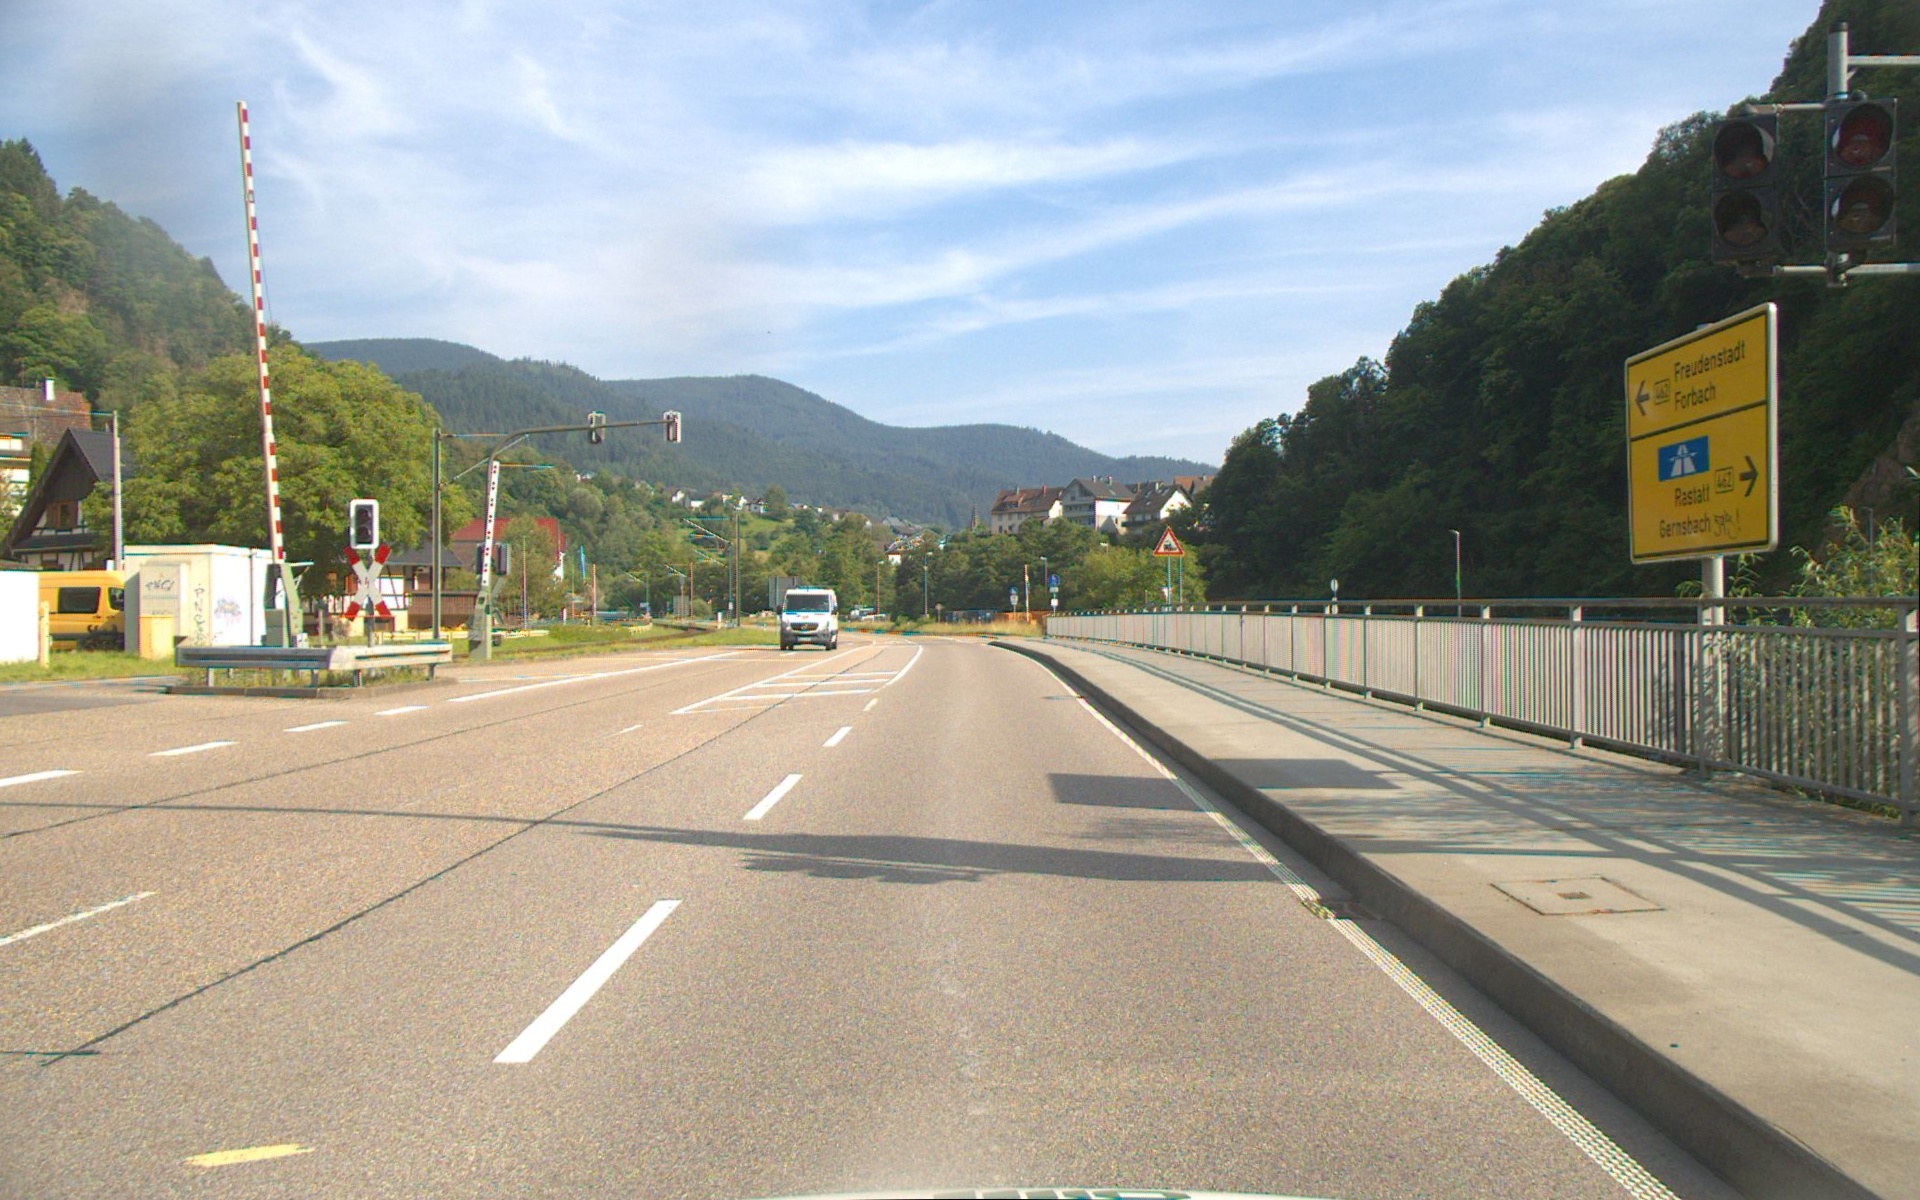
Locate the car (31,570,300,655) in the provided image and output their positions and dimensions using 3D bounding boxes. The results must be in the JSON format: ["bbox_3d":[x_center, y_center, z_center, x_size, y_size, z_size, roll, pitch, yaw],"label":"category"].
[{"bbox_3d":[-24.183,0.376,50.511,6.913,2.500,2.951,0,0,9],"label":"car"}]

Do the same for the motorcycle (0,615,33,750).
[{"bbox_3d":[-10.634,0.781,16.164,2.542,1.290,1.001,1,-1,-15],"label":"motorcycle"}]

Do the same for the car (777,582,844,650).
[{"bbox_3d":[-5.679,0.595,63.489,2.076,2.479,5.228,0,0,0],"label":"car"}]
